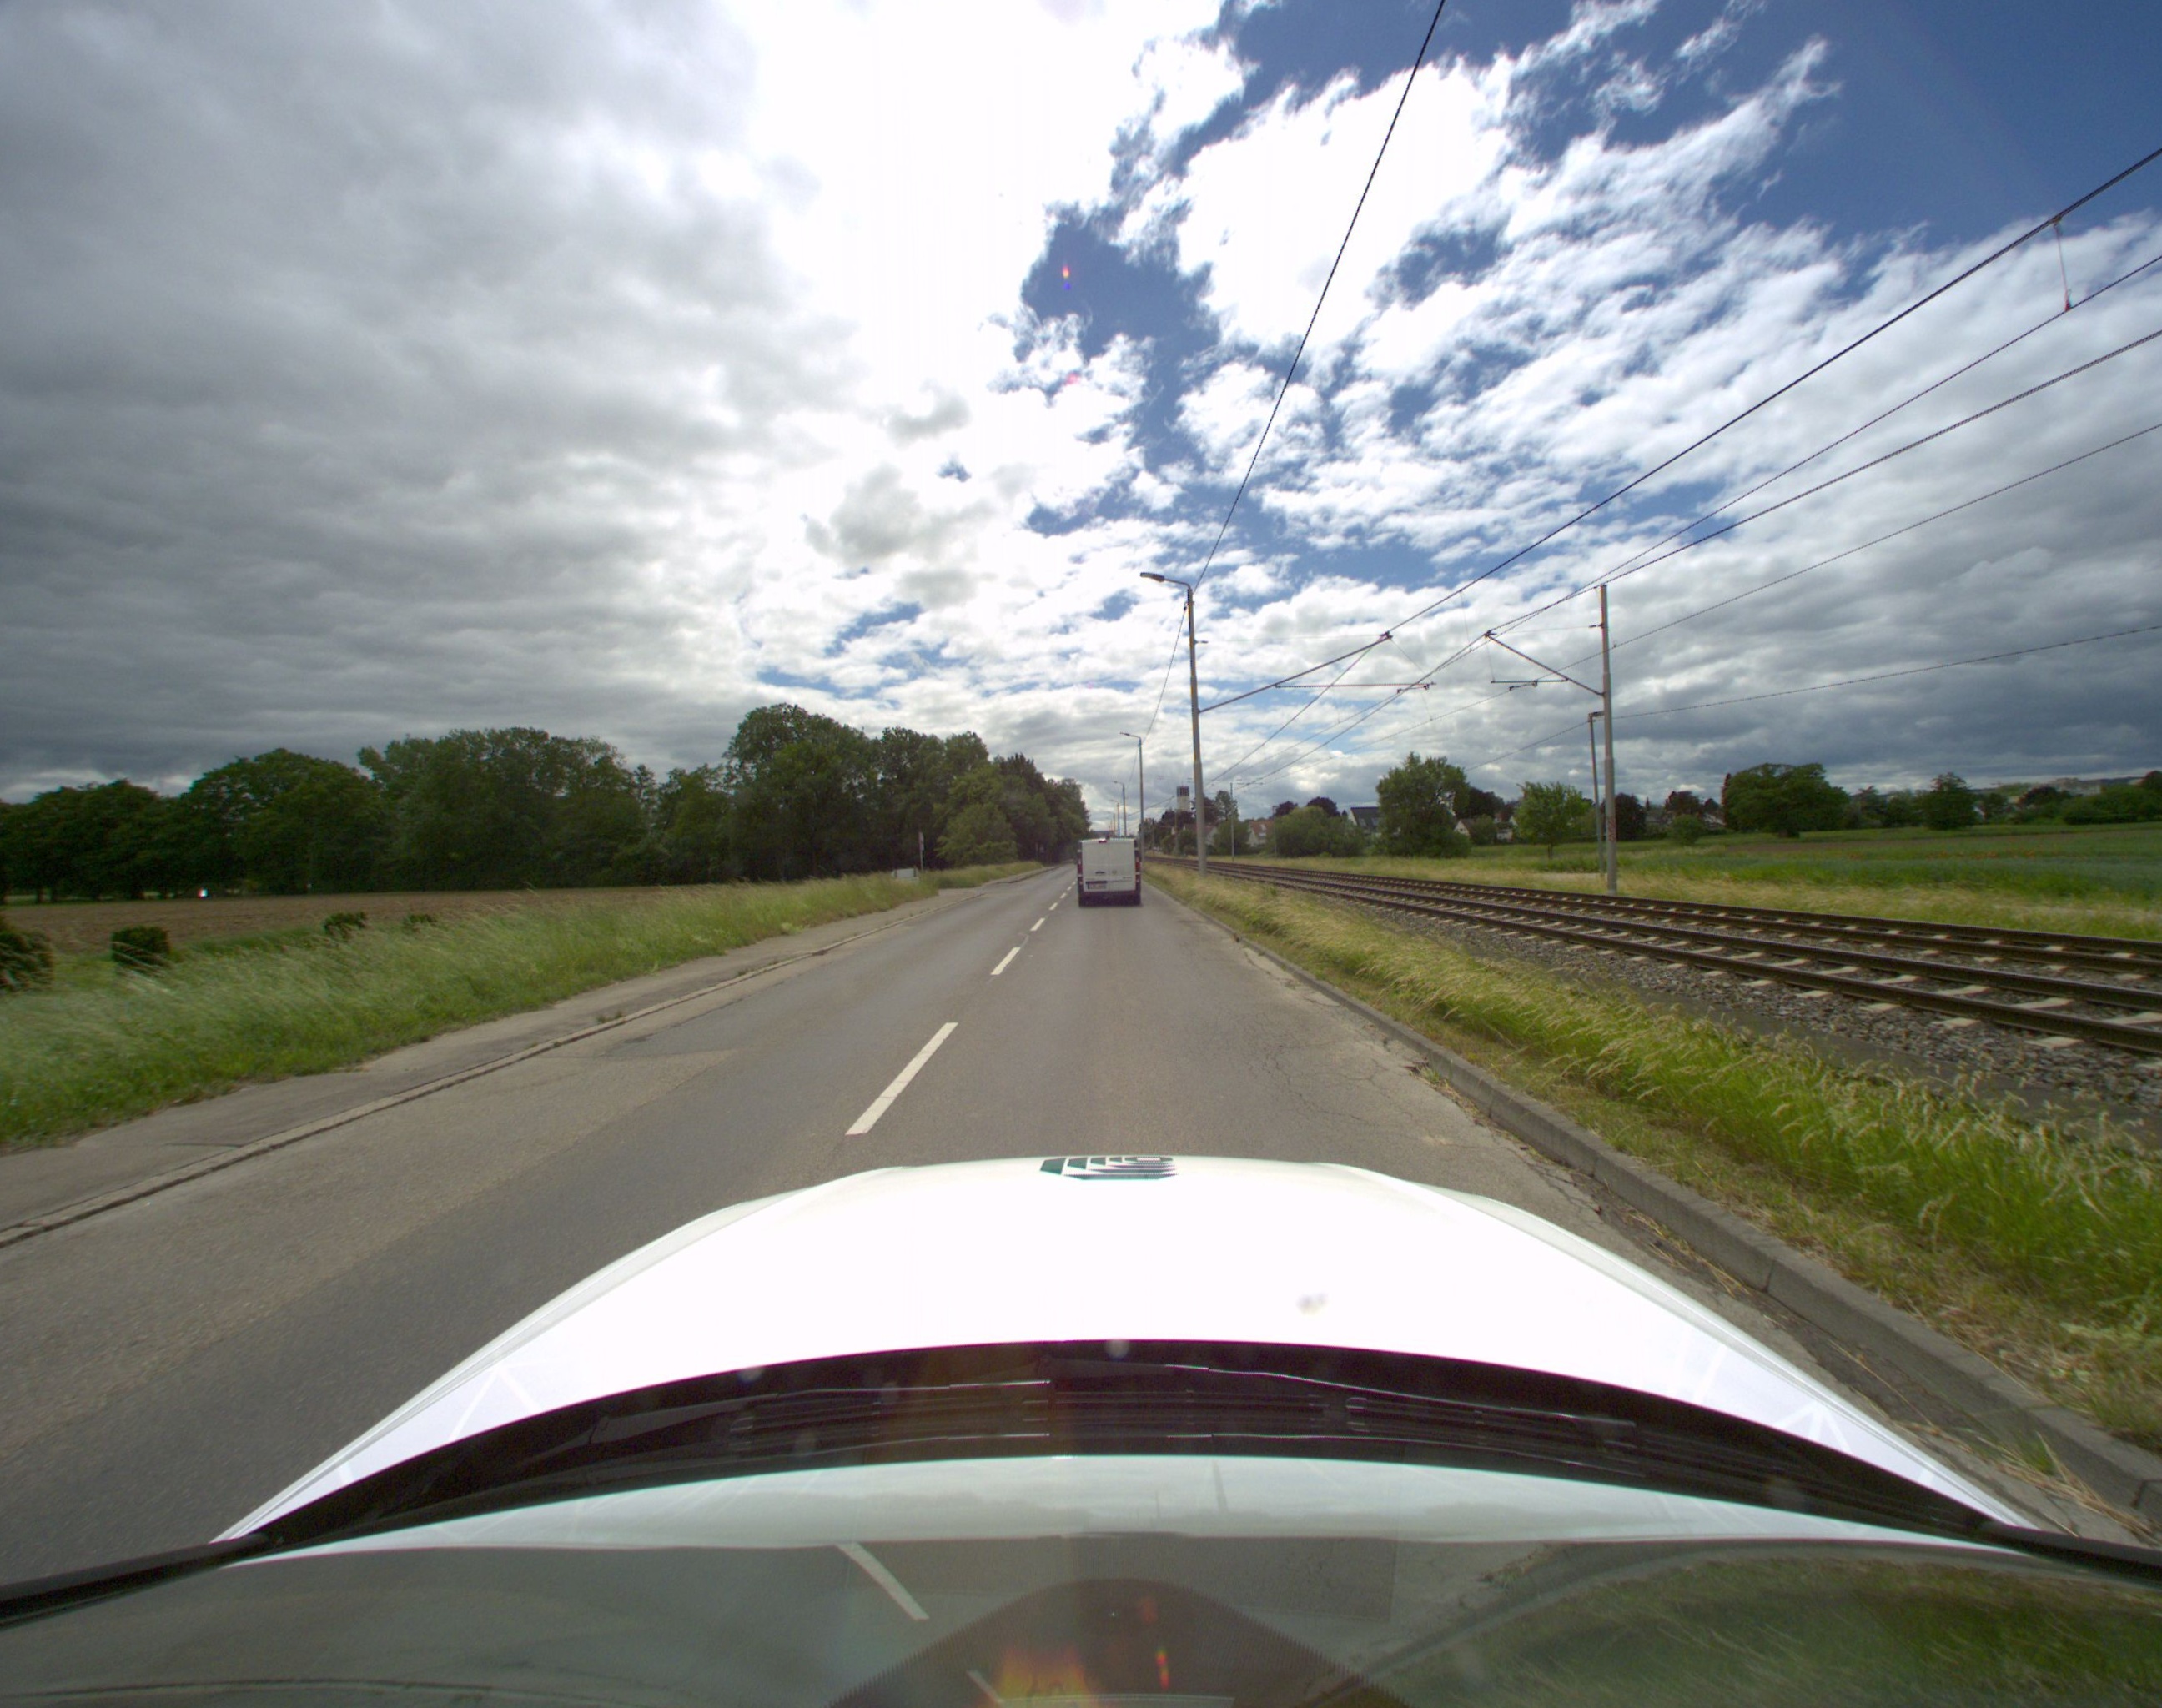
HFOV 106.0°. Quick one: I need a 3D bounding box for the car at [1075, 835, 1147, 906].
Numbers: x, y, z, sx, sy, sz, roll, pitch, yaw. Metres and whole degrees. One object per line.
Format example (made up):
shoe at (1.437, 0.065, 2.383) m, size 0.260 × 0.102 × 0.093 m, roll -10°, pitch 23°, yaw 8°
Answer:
car at (0.865, 0.483, 25.089) m, size 1.987 × 1.957 × 4.000 m, roll -2°, pitch 0°, yaw 0°
